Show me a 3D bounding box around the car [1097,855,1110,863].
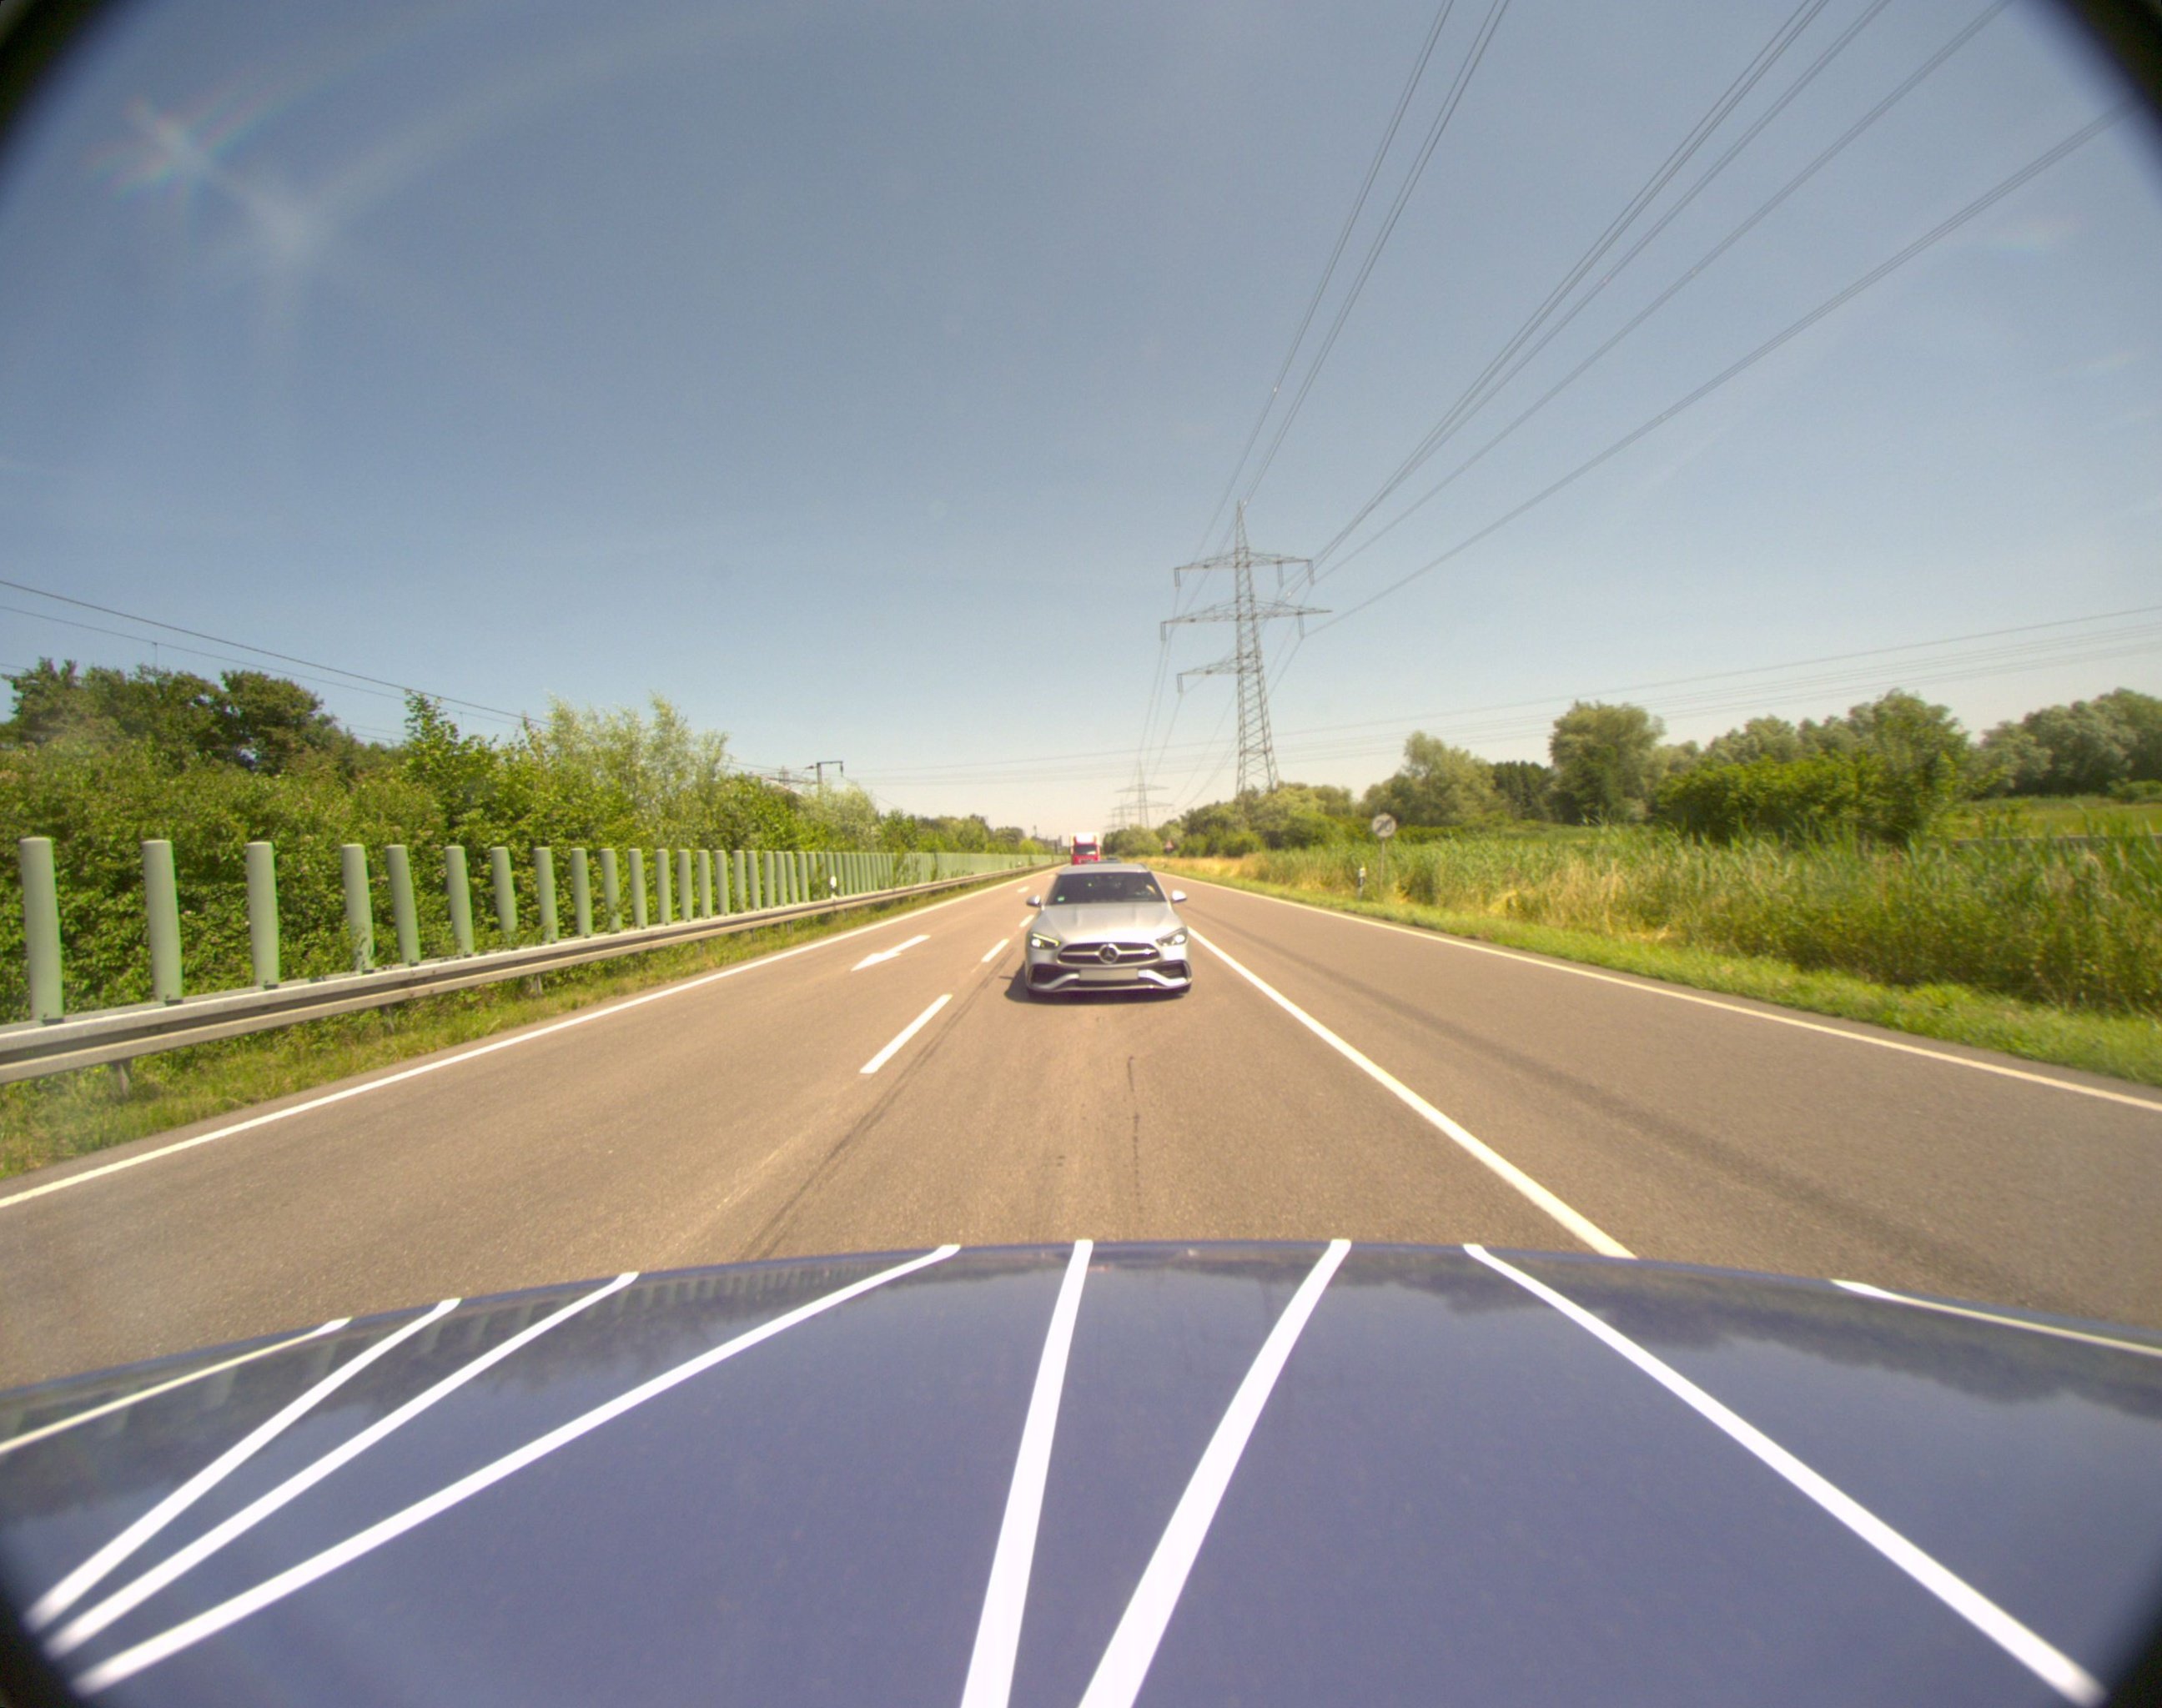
[{"bbox_3d":[3.640,0.846,123.677,1.864,1.221,4.322,-2,0,-1],"label":"car"}]

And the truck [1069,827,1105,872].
[{"bbox_3d":[0.584,-0.407,69.194,2.907,3.641,7.156,-4,0,1],"label":"truck"}]

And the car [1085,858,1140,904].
[{"bbox_3d":[1.086,0.876,26.543,1.697,1.385,4.468,-2,0,2],"label":"car"}]

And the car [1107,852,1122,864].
[{"bbox_3d":[4.333,0.497,99.103,1.749,1.425,4.322,-2,0,-1],"label":"car"}]

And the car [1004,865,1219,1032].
[{"bbox_3d":[0.342,0.930,9.429,1.998,1.437,4.467,-2,0,1],"label":"car"}]

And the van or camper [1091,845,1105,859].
[{"bbox_3d":[3.784,-0.411,167.948,2.578,2.865,6.744,-2,1,-2],"label":"van or camper"}]
